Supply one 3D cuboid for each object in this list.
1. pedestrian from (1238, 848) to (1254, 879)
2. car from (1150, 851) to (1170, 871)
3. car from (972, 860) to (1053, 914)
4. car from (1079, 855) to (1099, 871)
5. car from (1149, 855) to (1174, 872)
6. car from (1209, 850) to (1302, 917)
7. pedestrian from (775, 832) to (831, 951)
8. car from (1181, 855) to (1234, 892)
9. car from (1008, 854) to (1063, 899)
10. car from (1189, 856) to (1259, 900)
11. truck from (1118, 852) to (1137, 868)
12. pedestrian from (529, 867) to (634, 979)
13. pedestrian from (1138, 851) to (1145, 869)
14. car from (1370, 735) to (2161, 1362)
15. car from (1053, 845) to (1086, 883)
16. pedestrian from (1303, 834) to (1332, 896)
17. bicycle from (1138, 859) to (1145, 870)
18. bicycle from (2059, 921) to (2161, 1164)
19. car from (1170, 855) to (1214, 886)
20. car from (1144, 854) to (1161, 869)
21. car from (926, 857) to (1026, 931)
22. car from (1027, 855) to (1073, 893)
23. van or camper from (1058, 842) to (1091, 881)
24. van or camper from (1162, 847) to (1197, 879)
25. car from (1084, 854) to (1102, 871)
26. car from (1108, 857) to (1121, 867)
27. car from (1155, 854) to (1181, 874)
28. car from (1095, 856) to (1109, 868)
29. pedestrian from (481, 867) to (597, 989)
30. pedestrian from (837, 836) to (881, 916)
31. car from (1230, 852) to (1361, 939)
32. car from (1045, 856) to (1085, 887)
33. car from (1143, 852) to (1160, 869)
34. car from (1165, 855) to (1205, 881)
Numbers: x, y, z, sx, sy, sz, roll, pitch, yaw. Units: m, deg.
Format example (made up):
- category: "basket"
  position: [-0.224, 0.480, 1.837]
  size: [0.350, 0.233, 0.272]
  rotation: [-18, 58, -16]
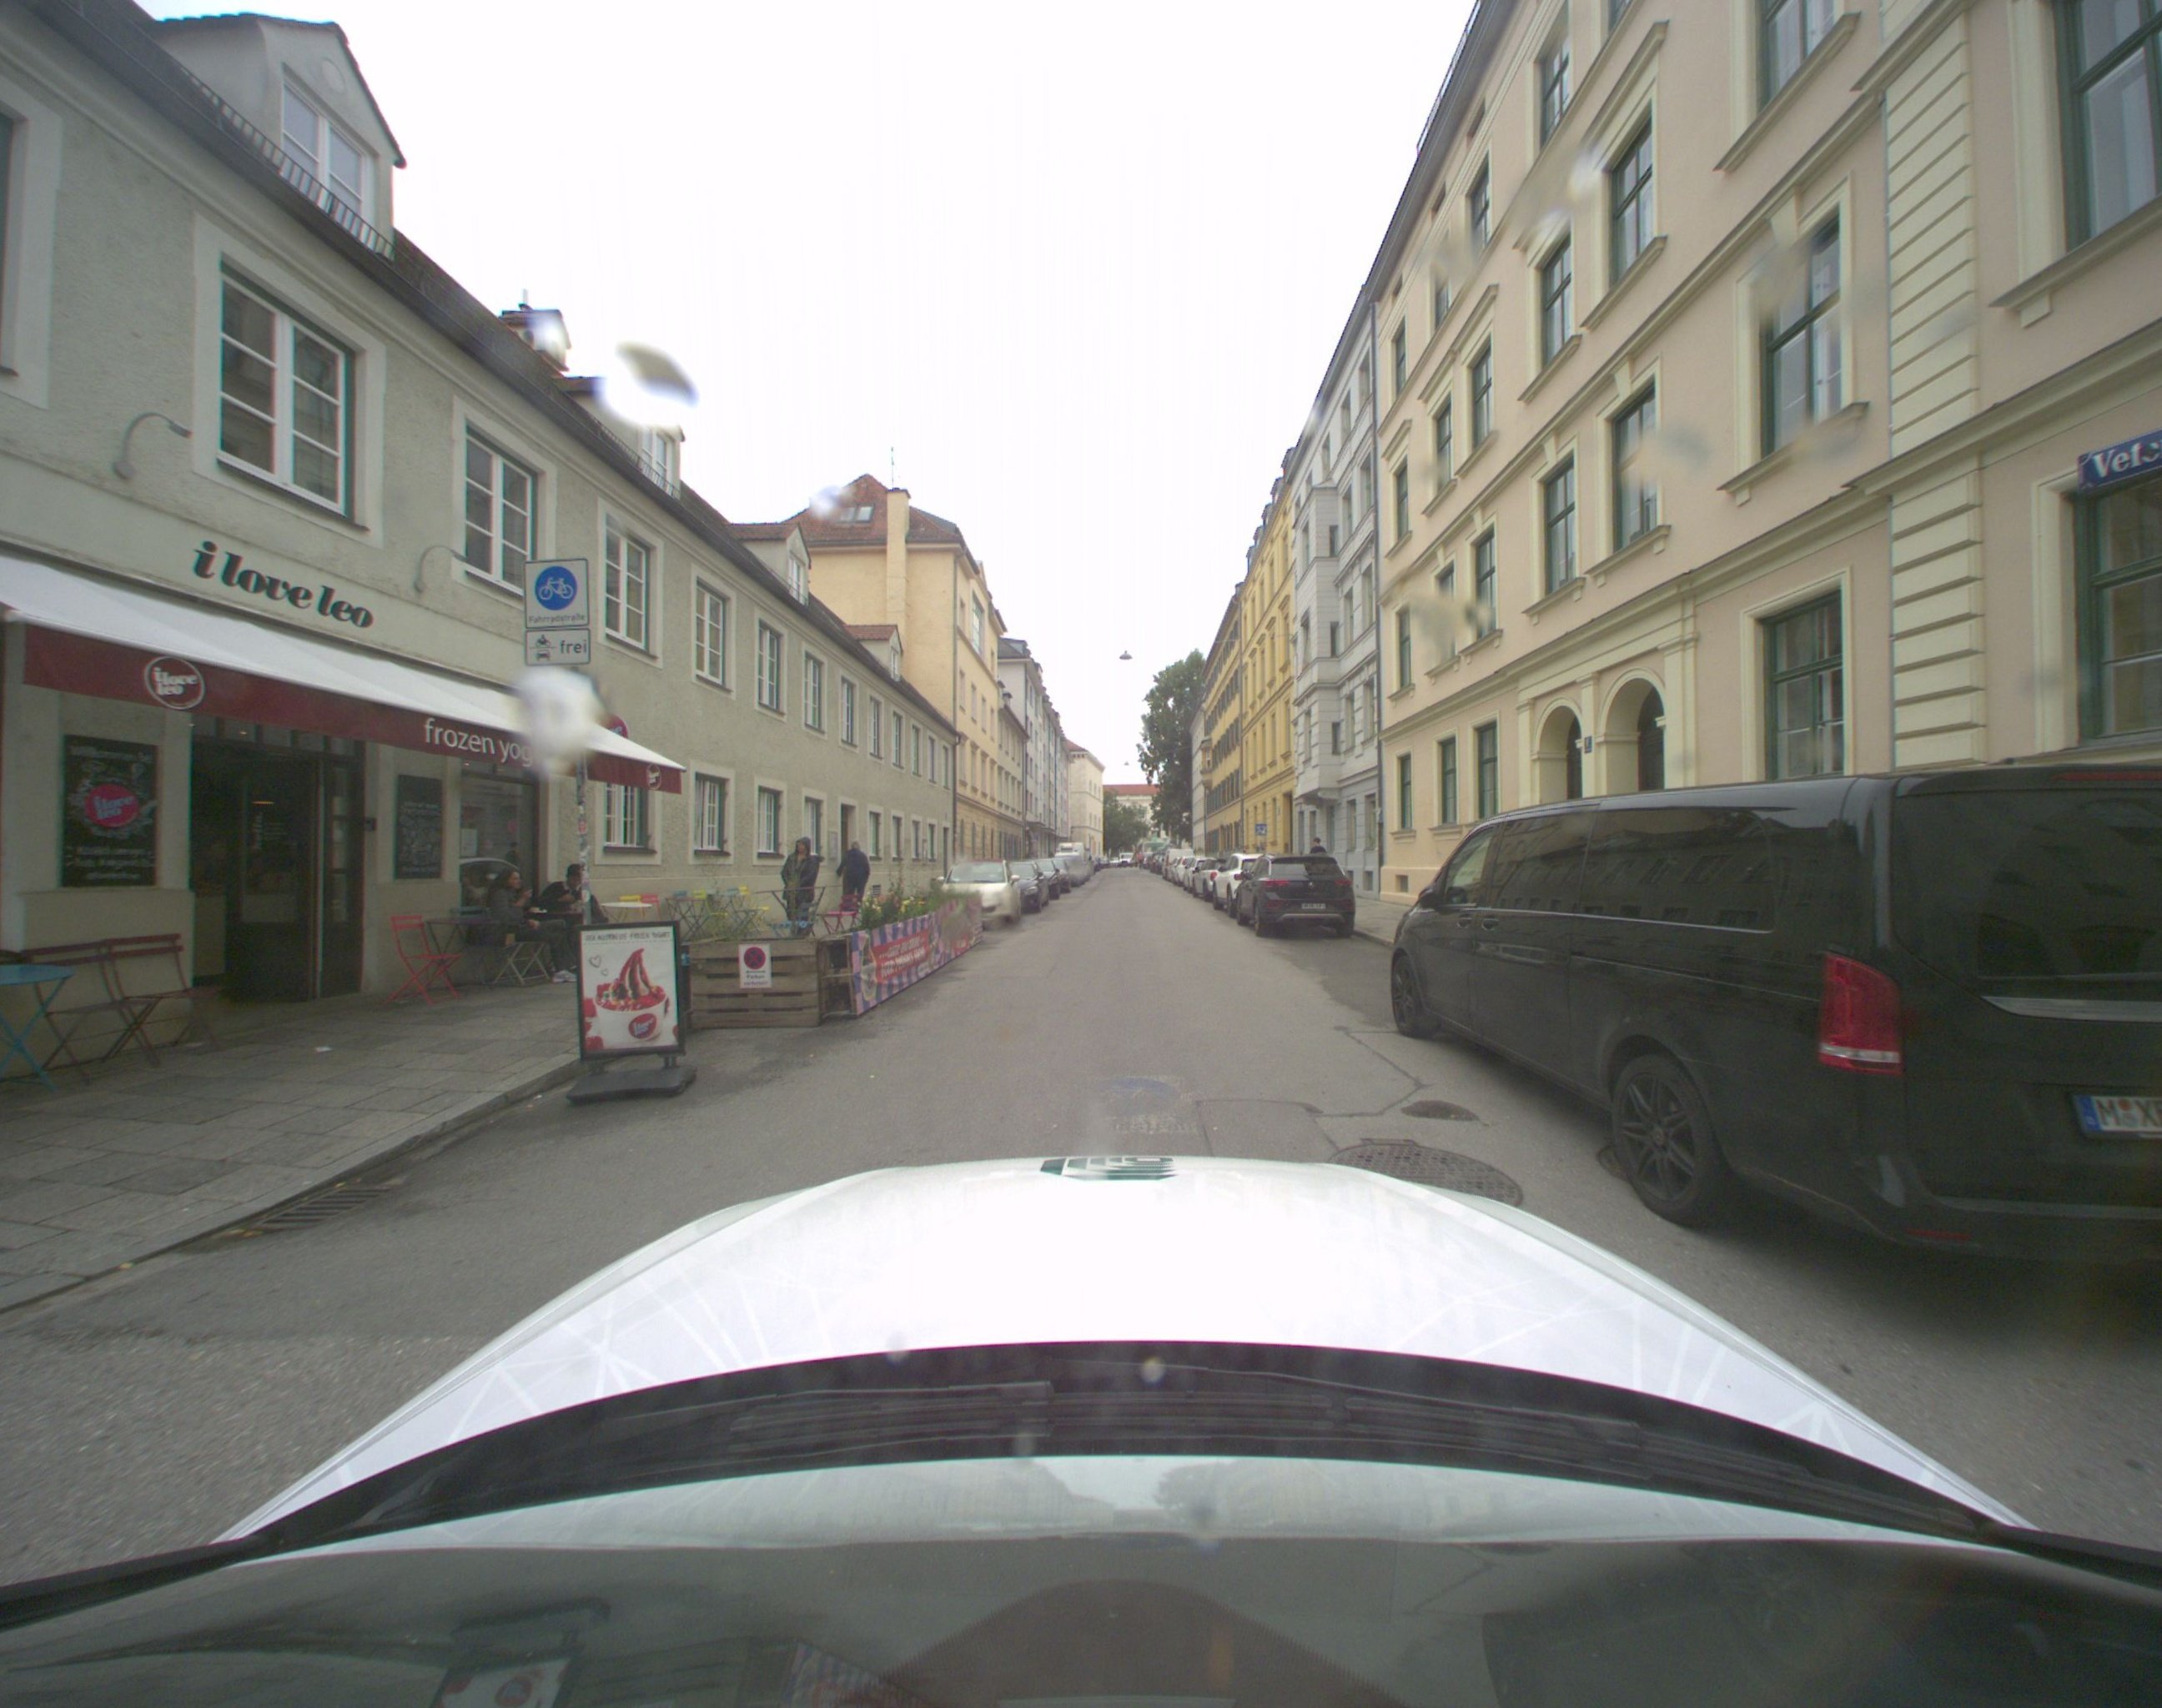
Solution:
- category: "pedestrian"
  position: [8.663, 0.517, 42.830]
  size: [0.658, 1.571, 0.642]
  rotation: [-3, -2, 2]
- category: "car"
  position: [7.489, 0.660, 77.400]
  size: [1.804, 1.797, 4.250]
  rotation: [1, 0, 4]
- category: "car"
  position: [-1.890, 0.875, 23.698]
  size: [1.791, 1.339, 4.688]
  rotation: [0, 0, 2]
- category: "car"
  position: [0.819, 0.890, 78.575]
  size: [1.810, 1.444, 3.820]
  rotation: [-1, 0, 2]
- category: "car"
  position: [6.862, 0.826, 69.896]
  size: [1.805, 1.425, 4.248]
  rotation: [1, 0, 1]
- category: "car"
  position: [4.500, 0.708, 21.589]
  size: [1.736, 1.583, 4.470]
  rotation: [0, 0, 3]
- category: "pedestrian"
  position: [-4.321, 0.570, 12.679]
  size: [0.526, 1.782, 0.878]
  rotation: [-1, -2, 3]
- category: "car"
  position: [5.158, 0.767, 33.702]
  size: [1.701, 1.408, 4.818]
  rotation: [0, 0, 3]
- category: "car"
  position: [-1.576, 0.765, 29.560]
  size: [1.749, 1.496, 4.200]
  rotation: [0, 0, 0]
- category: "car"
  position: [4.823, 0.768, 27.941]
  size: [1.702, 1.404, 4.207]
  rotation: [0, 0, 1]
- category: "truck"
  position: [7.064, 0.963, 123.384]
  size: [2.107, 2.247, 6.203]
  rotation: [-1, -1, 11]
- category: "pedestrian"
  position: [-5.984, 0.813, 9.793]
  size: [0.800, 1.290, 0.694]
  rotation: [-1, -2, 3]
- category: "pedestrian"
  position: [5.887, 0.560, 79.705]
  size: [0.639, 1.714, 0.843]
  rotation: [-1, -2, 3]
- category: "car"
  position: [3.531, 0.576, 5.036]
  size: [1.988, 1.864, 5.259]
  rotation: [0, 0, 4]
- category: "car"
  position: [-0.634, 0.551, 44.777]
  size: [1.749, 1.995, 4.623]
  rotation: [0, 0, -1]
- category: "pedestrian"
  position: [7.699, 0.359, 26.545]
  size: [0.666, 1.980, 0.709]
  rotation: [-4, -2, 3]
- category: "bicycle"
  position: [5.893, 1.057, 79.599]
  size: [0.672, 1.095, 1.762]
  rotation: [-1, -1, 4]
- category: "bicycle"
  position: [5.122, 0.903, 3.242]
  size: [0.463, 1.052, 1.731]
  rotation: [-2, 2, 4]
- category: "car"
  position: [5.426, 0.775, 40.206]
  size: [1.702, 1.454, 4.097]
  rotation: [0, 0, 1]
- category: "car"
  position: [7.988, 0.835, 90.798]
  size: [1.804, 1.614, 4.159]
  rotation: [-1, -1, 4]
- category: "car"
  position: [-2.262, 0.818, 18.401]
  size: [1.749, 1.475, 3.713]
  rotation: [0, 0, 0]
- category: "car"
  position: [-1.258, 0.801, 34.491]
  size: [1.811, 1.441, 4.130]
  rotation: [-1, 0, -1]
- category: "van or camper"
  position: [-0.357, 0.438, 50.013]
  size: [1.748, 2.281, 5.276]
  rotation: [0, 0, 2]
- category: "van or camper"
  position: [6.015, 0.543, 50.102]
  size: [1.826, 1.872, 5.083]
  rotation: [0, 0, 3]
- category: "car"
  position: [1.296, 0.862, 83.827]
  size: [1.700, 1.609, 3.865]
  rotation: [-1, -1, 2]
- category: "car"
  position: [5.185, 1.233, 126.247]
  size: [1.698, 1.581, 3.869]
  rotation: [-1, -1, 5]
- category: "car"
  position: [6.892, 0.779, 64.905]
  size: [1.804, 1.465, 4.249]
  rotation: [1, 0, 3]
- category: "car"
  position: [2.911, 1.079, 111.738]
  size: [1.698, 1.609, 3.868]
  rotation: [-1, -1, 5]
- category: "pedestrian"
  position: [-6.013, 0.800, 9.069]
  size: [0.800, 1.290, 0.694]
  rotation: [-1, -2, 3]
- category: "pedestrian"
  position: [-5.392, 0.539, 19.790]
  size: [0.819, 1.898, 0.828]
  rotation: [-1, -2, 2]
- category: "car"
  position: [4.167, 0.739, 16.475]
  size: [1.747, 1.521, 4.278]
  rotation: [0, 0, 3]
- category: "car"
  position: [-0.721, 0.832, 39.727]
  size: [1.748, 1.409, 4.104]
  rotation: [0, 0, 2]
- category: "car"
  position: [8.360, 0.745, 96.668]
  size: [1.844, 1.919, 4.773]
  rotation: [-1, -1, 4]
- category: "car"
  position: [5.685, 0.758, 44.859]
  size: [1.702, 1.392, 4.207]
  rotation: [0, 0, 1]
